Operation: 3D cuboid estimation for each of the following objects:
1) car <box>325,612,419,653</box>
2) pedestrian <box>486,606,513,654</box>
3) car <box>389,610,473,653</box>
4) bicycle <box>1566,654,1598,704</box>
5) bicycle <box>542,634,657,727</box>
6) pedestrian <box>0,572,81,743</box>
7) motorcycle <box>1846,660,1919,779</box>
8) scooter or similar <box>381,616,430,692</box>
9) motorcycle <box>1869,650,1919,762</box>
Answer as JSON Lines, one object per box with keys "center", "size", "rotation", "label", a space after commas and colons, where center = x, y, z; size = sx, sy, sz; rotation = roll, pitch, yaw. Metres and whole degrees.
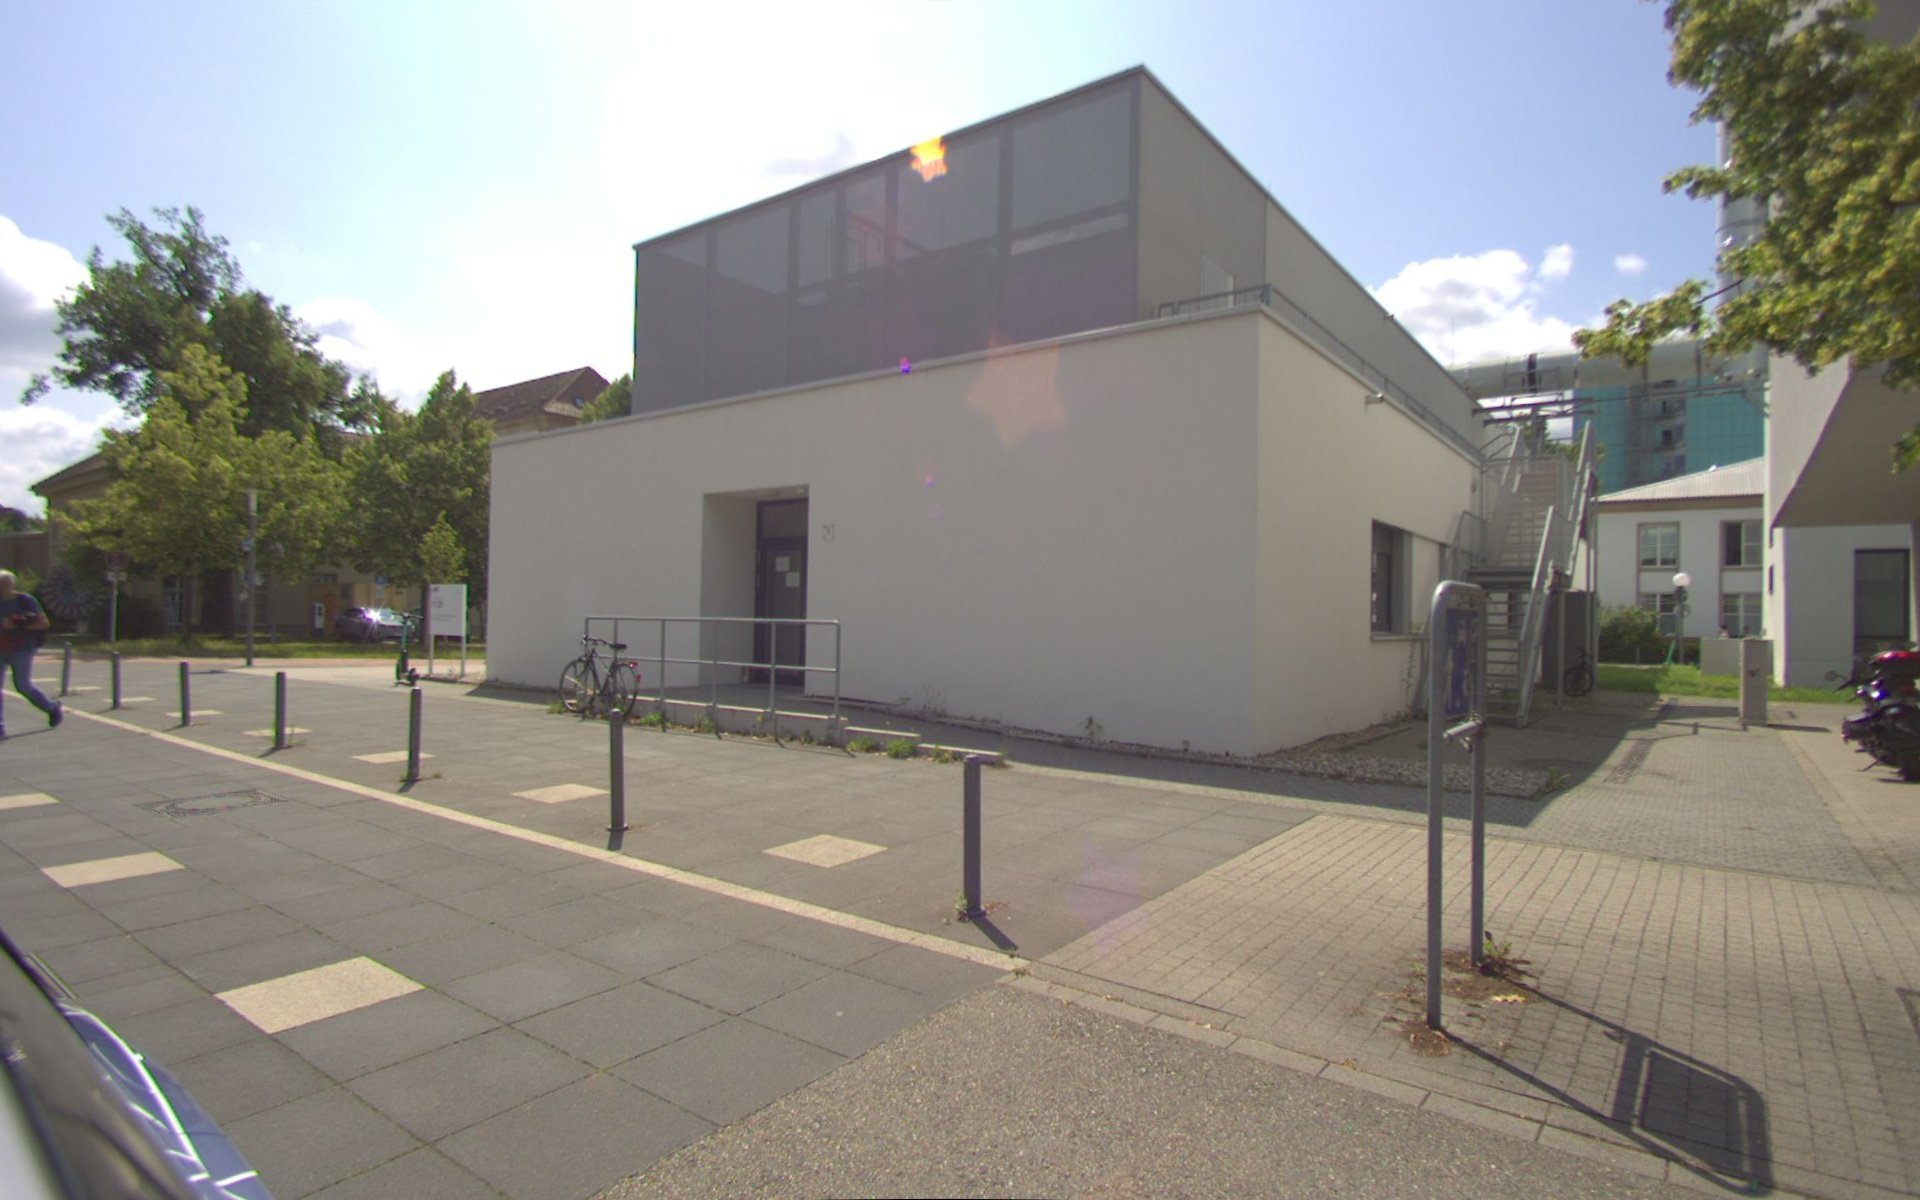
{"center": [-25.958, 1.418, 44.607], "size": [4.642, 1.593, 1.877], "rotation": [1, -1, 37], "label": "car"}
{"center": [-17.944, 1.163, 39.448], "size": [0.858, 1.800, 0.638], "rotation": [2, 2, -23], "label": "pedestrian"}
{"center": [-24.362, 1.432, 46.554], "size": [4.117, 1.799, 1.790], "rotation": [1, -1, 37], "label": "car"}
{"center": [13.018, 1.641, 21.186], "size": [0.444, 0.981, 0.969], "rotation": [0, -2, 40], "label": "bicycle"}
{"center": [-4.612, 0.988, 12.884], "size": [1.899, 1.069, 0.537], "rotation": [0, -2, 43], "label": "bicycle"}
{"center": [-10.632, 0.619, 11.365], "size": [1.141, 1.831, 0.817], "rotation": [0, -1, 32], "label": "pedestrian"}
{"center": [9.528, 1.155, 10.128], "size": [0.881, 1.050, 2.154], "rotation": [0, -2, 39], "label": "motorcycle"}
{"center": [-9.742, 0.929, 17.776], "size": [0.476, 1.272, 1.315], "rotation": [2, -1, -40], "label": "scooter or similar"}
{"center": [11.523, 1.248, 12.296], "size": [0.631, 1.256, 1.759], "rotation": [0, -2, 40], "label": "motorcycle"}
